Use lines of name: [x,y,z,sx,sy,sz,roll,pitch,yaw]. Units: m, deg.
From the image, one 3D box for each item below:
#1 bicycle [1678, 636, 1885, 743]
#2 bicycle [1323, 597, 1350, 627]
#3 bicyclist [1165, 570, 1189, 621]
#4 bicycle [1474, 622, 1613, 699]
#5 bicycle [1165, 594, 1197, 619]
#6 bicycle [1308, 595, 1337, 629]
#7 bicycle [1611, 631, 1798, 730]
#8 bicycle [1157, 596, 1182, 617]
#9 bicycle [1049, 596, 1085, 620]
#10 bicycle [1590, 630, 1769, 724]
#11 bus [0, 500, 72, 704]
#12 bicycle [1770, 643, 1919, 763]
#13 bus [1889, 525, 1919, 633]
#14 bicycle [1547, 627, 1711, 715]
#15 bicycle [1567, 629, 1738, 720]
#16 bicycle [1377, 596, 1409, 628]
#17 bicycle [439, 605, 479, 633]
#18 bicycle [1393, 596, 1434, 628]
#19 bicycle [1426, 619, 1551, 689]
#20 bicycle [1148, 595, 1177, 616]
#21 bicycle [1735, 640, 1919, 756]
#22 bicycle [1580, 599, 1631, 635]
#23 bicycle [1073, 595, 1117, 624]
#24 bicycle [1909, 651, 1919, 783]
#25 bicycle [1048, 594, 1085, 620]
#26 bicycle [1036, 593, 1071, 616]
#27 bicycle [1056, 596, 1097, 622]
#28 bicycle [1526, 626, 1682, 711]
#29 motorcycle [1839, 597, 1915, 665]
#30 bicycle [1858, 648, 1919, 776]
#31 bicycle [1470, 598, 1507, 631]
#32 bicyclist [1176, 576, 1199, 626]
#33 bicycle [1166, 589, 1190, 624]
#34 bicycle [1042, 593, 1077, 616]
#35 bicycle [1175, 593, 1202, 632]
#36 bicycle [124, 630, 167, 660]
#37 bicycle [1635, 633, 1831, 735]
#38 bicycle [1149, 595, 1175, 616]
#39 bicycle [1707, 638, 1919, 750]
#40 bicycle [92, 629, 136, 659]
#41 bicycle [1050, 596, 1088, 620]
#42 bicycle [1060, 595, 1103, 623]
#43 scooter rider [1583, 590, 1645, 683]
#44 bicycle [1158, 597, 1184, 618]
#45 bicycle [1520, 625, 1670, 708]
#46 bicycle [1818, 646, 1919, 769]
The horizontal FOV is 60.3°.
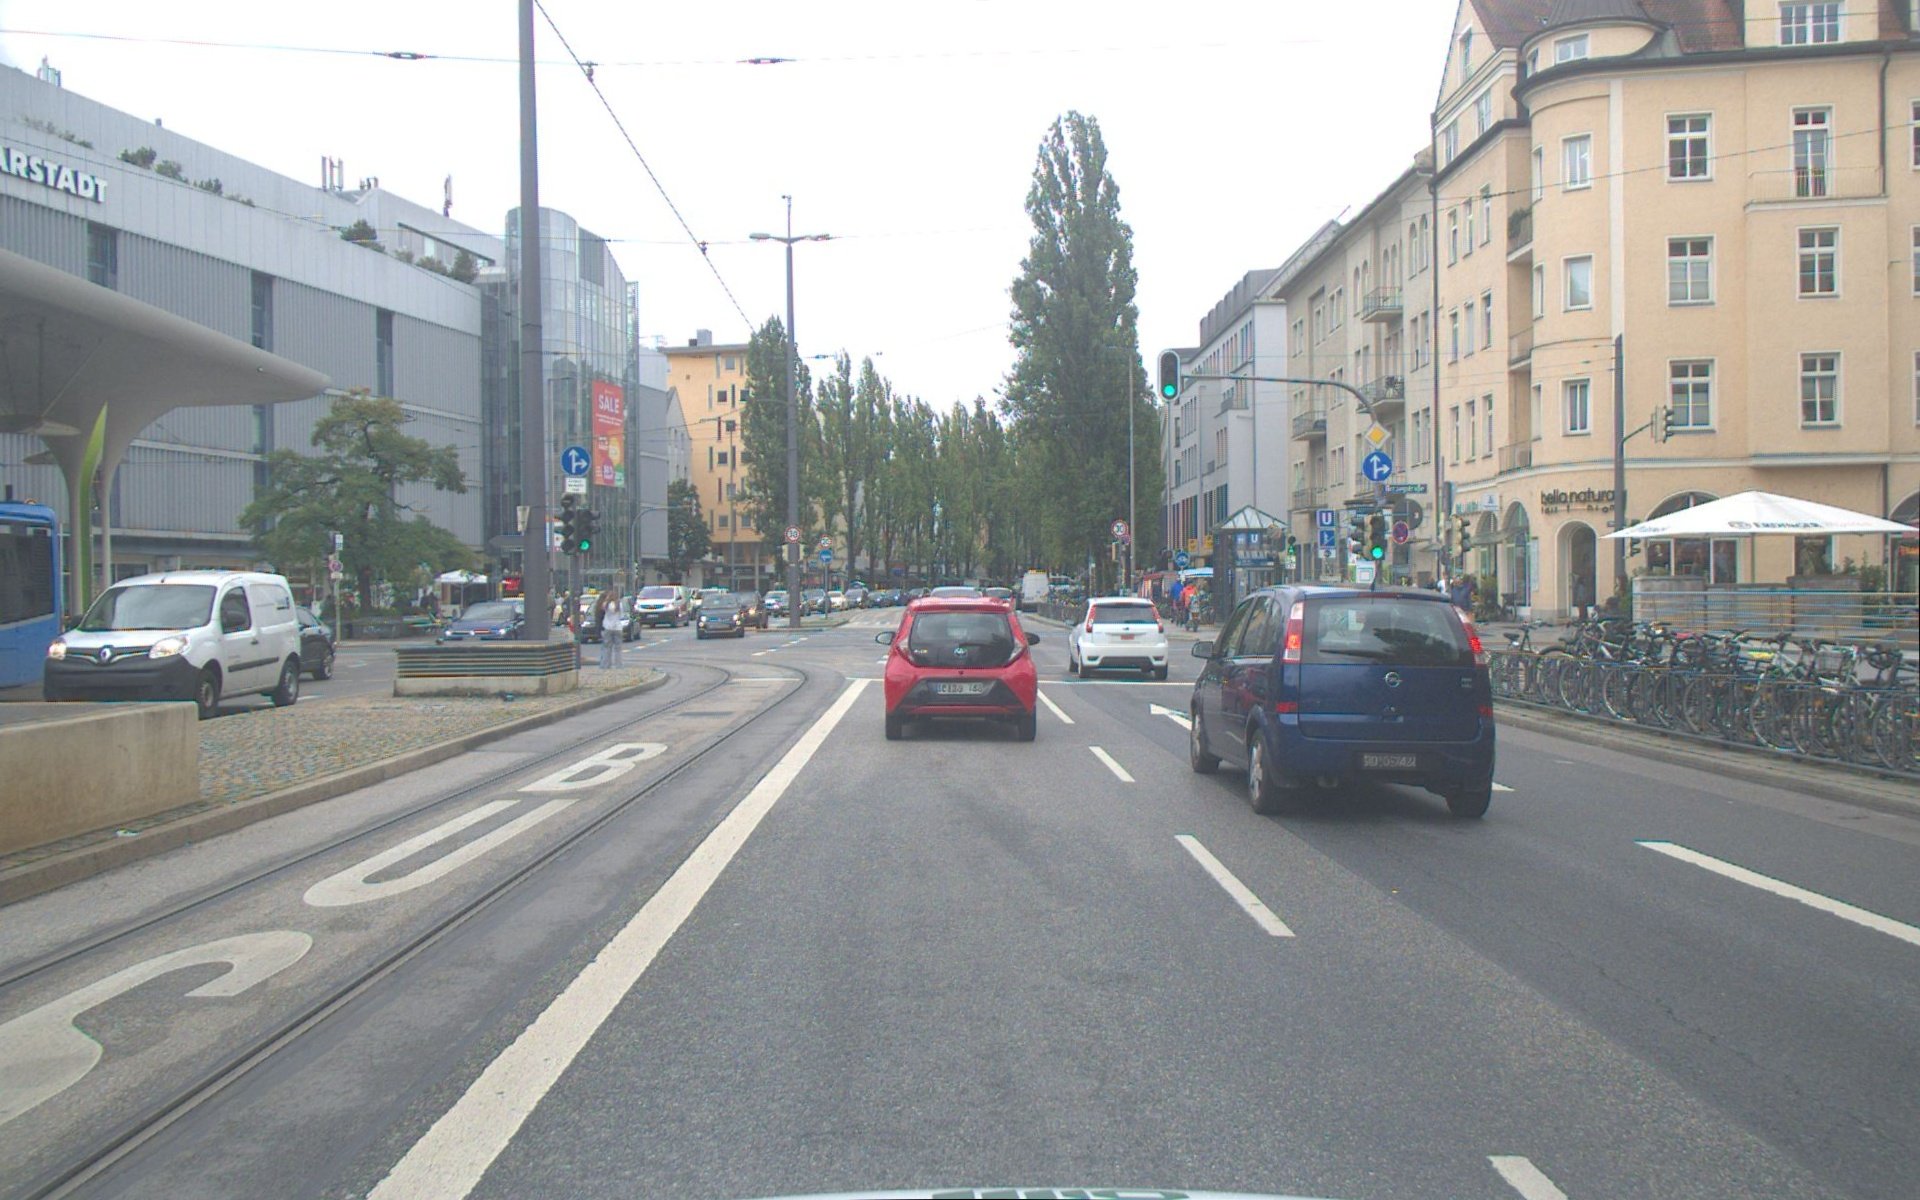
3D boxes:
bicycle: [8.159,0.872,16.482,1.807,1.013,0.346,-2,0,40]
bicycle: [12.981,0.417,57.016,0.484,0.992,1.866,-1,0,0]
bicyclist: [8.264,-0.184,62.945,0.747,1.902,1.133,-1,0,0]
bicycle: [8.010,0.828,22.770,1.811,1.013,0.345,-1,0,45]
bicycle: [10.022,0.275,74.911,1.389,1.096,0.369,-1,0,0]
bicycle: [12.480,0.404,57.029,0.555,1.127,1.866,-1,0,0]
bicycle: [8.060,0.860,17.961,1.807,1.013,0.346,-2,0,40]
bicycle: [9.932,0.315,78.437,1.157,0.980,0.369,-1,0,-2]
bicycle: [5.059,0.369,78.404,1.773,1.130,0.488,0,1,43]
bicycle: [8.074,0.856,18.627,1.807,1.013,0.346,-2,0,40]
bus: [-15.686,0.093,22.951,2.606,3.060,7.512,-3,0,-1]
bicycle: [8.105,0.885,14.445,1.810,1.013,0.346,-1,0,44]
bus: [33.507,-0.718,45.925,13.269,3.018,2.818,-1,1,10]
bicycle: [8.055,0.847,19.979,1.810,1.013,0.346,-2,0,43]
bicycle: [8.062,0.851,19.314,1.810,1.013,0.346,-2,0,43]
bicycle: [14.924,0.400,57.036,0.485,1.077,1.864,-1,0,-5]
bicycle: [-20.740,0.794,68.506,1.541,1.131,0.373,0,0,3]
bicycle: [15.708,0.411,57.321,0.486,1.077,1.859,-1,0,-15]
bicycle: [7.948,0.812,24.926,1.811,1.013,0.345,-1,0,45]
bicycle: [9.827,0.285,80.236,1.374,0.980,0.369,-1,0,-6]
bicycle: [8.125,0.881,15.163,1.810,1.013,0.346,-1,0,44]
bicycle: [19.316,0.503,49.499,1.552,1.051,0.247,-1,0,-15]
bicycle: [5.545,0.390,67.993,1.770,1.178,0.546,0,0,38]
bicycle: [8.129,0.900,12.316,1.811,1.013,0.323,-1,0,44]
bicycle: [5.073,0.333,79.068,1.805,1.188,0.583,0,1,43]
bicycle: [4.953,0.238,87.676,1.801,1.156,0.584,0,0,36]
bicycle: [5.209,0.399,74.237,1.769,1.130,0.649,0,0,37]
bicycle: [8.036,0.842,20.696,1.810,1.013,0.346,-2,0,43]
motorcycle: [16.490,0.541,29.772,0.476,1.176,1.571,-1,0,0]
bicycle: [8.163,0.895,13.091,1.811,1.013,0.345,-1,0,44]
bicycle: [18.450,0.485,57.761,0.485,1.108,1.864,-1,0,-6]
bicyclist: [7.888,0.034,57.356,0.601,1.686,1.251,-1,0,0]
bicycle: [8.273,0.236,62.825,0.601,1.287,2.520,-1,1,0]
bicycle: [5.062,0.224,83.989,1.805,1.156,0.583,0,1,43]
bicycle: [7.897,0.404,57.225,0.601,1.287,2.520,-1,1,0]
bicycle: [-28.184,1.551,57.243,0.516,1.015,1.986,-1,-2,0]
bicycle: [8.055,0.864,17.288,1.807,1.013,0.346,-2,0,40]
bicycle: [9.951,0.275,81.456,1.207,0.980,0.367,-1,0,-23]
bicycle: [8.168,0.877,15.827,1.807,1.013,0.346,-2,0,40]
bicycle: [-29.324,1.522,57.371,0.516,1.015,1.986,-1,-2,0]
bicycle: [5.119,0.374,77.740,1.773,1.130,0.583,0,1,43]
bicycle: [5.299,0.390,72.176,1.768,1.178,0.650,0,0,36]
scooter rider: [10.155,0.560,25.695,0.686,1.413,0.643,-1,0,-2]
bicycle: [9.941,0.338,77.894,1.156,0.980,0.369,-1,0,4]
bicycle: [8.141,0.841,21.265,0.345,1.013,1.812,-1,0,-44]
bicycle: [8.180,0.891,13.757,1.807,1.013,0.346,-2,0,40]
